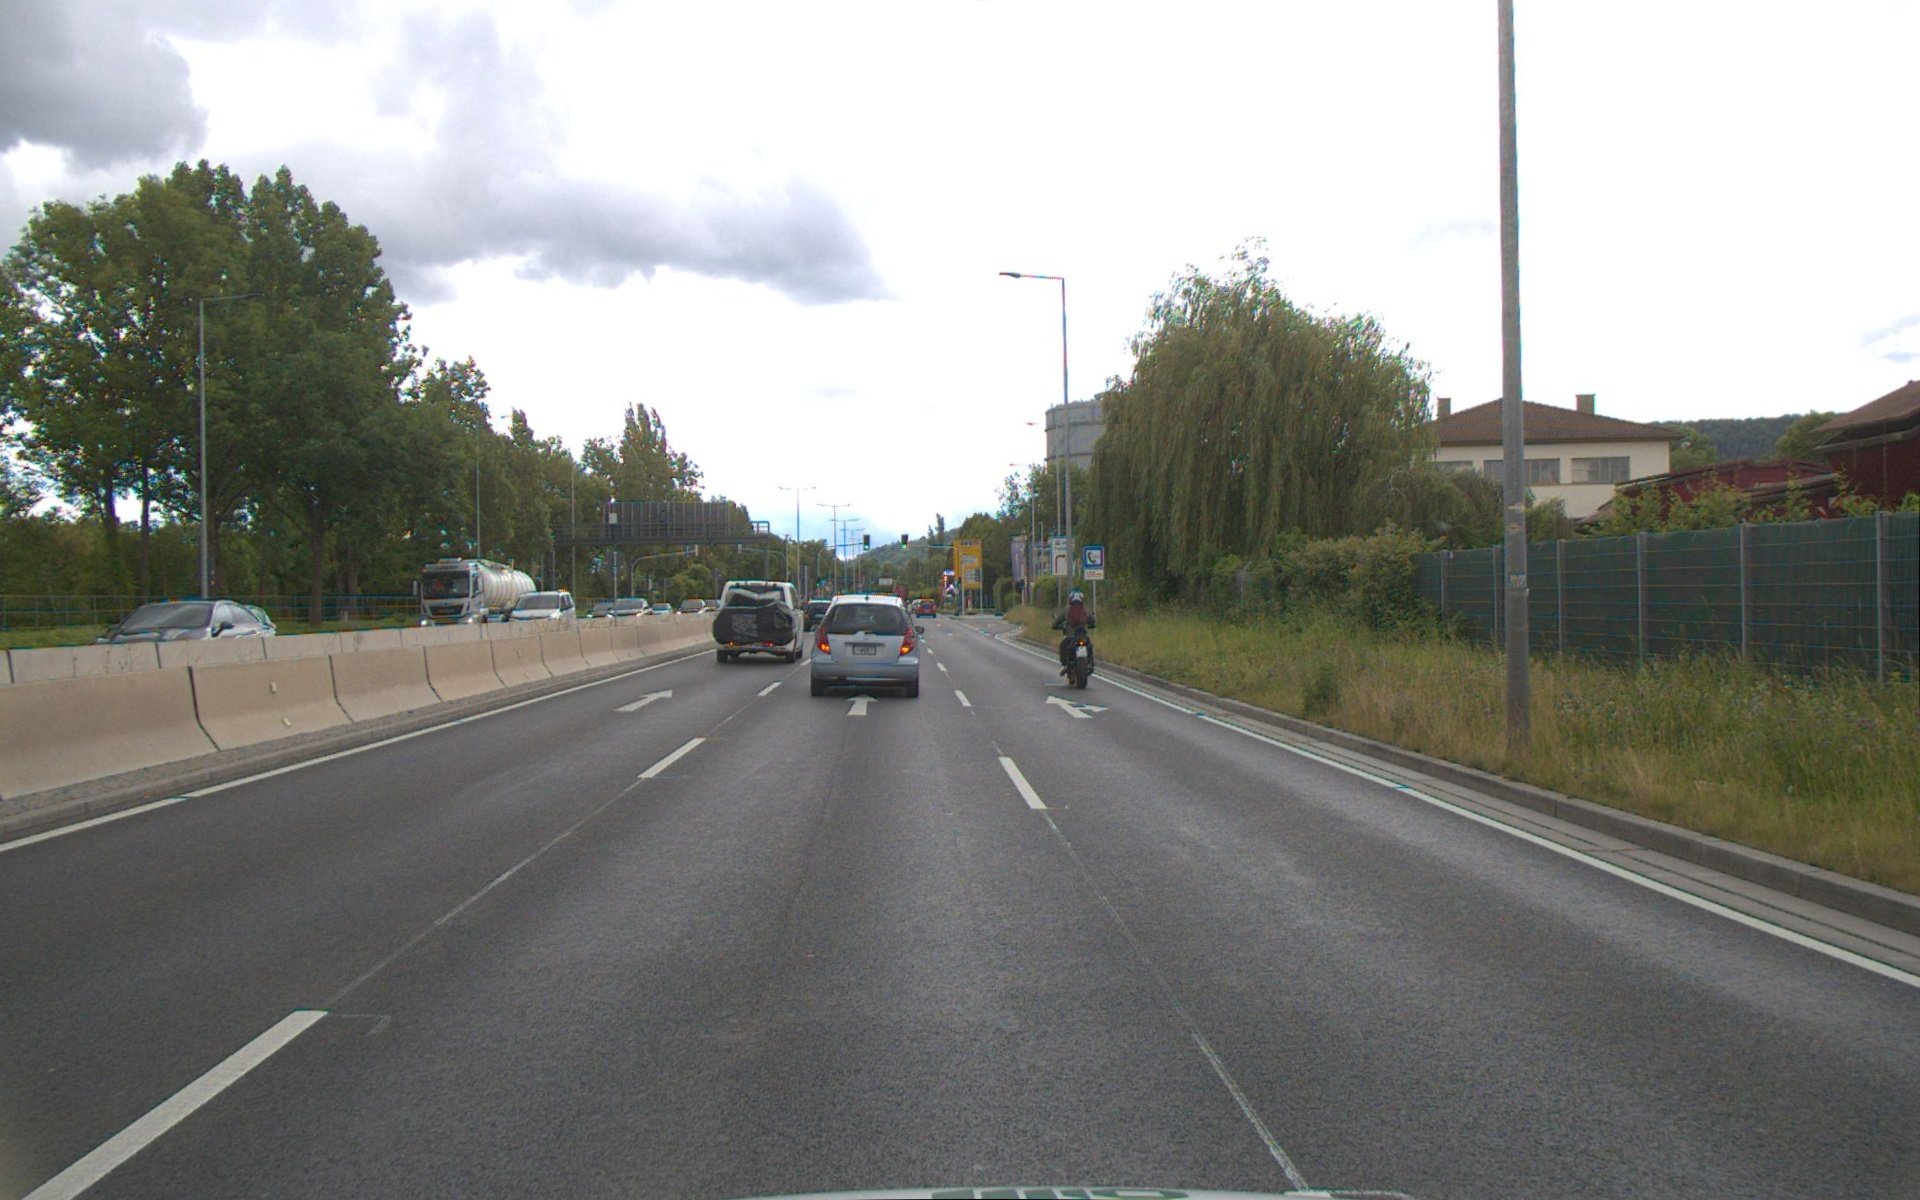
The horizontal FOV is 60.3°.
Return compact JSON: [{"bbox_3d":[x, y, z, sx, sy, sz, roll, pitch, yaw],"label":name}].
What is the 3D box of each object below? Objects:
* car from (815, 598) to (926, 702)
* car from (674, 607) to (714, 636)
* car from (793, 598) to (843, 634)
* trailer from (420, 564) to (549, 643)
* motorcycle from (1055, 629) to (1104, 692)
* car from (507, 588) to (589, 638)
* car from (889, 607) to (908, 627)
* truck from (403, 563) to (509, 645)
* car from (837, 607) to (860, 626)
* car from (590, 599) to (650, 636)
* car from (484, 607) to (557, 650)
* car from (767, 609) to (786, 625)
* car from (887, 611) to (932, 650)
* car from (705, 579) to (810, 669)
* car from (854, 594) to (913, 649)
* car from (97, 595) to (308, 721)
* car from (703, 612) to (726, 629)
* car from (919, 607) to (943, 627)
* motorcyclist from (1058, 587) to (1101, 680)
[{"bbox_3d":[-1.458,0.773,27.390,1.676,1.557,3.998,1,0,-3],"label":"car"},{"bbox_3d":[-17.050,1.358,106.199,1.953,1.769,3.999,1,0,-2],"label":"car"},{"bbox_3d":[-6.545,0.708,76.538,1.953,1.579,4.000,1,0,0],"label":"car"},{"bbox_3d":[-21.659,0.160,76.109,3.038,3.276,11.661,1,0,-3],"label":"trailer"},{"bbox_3d":[2.132,1.068,29.751,0.692,1.058,2.026,1,0,0],"label":"motorcycle"},{"bbox_3d":[-14.666,0.440,59.062,1.954,1.646,4.694,1,0,-3],"label":"car"},{"bbox_3d":[-6.743,1.845,181.122,1.953,2.049,3.998,1,0,-2],"label":"car"},{"bbox_3d":[-21.373,0.165,70.438,3.036,3.275,5.388,1,0,-3],"label":"truck"},{"bbox_3d":[-9.798,1.456,145.598,1.954,1.579,3.997,1,0,-3],"label":"car"},{"bbox_3d":[-15.988,0.790,77.972,1.953,1.646,4.695,1,0,-2],"label":"car"},{"bbox_3d":[-18.064,1.132,68.168,1.954,1.646,4.694,1,0,-3],"label":"car"},{"bbox_3d":[-20.968,1.897,189.073,1.840,1.712,4.124,1,0,-2],"label":"car"},{"bbox_3d":[-2.113,1.264,69.226,1.803,1.489,3.998,1,0,-2],"label":"car"},{"bbox_3d":[-4.749,0.532,39.505,2.171,1.959,4.998,1,0,-4],"label":"car"},{"bbox_3d":[-2.533,0.687,55.323,1.869,1.713,3.998,1,0,-2],"label":"car"},{"bbox_3d":[-12.683,0.917,27.981,1.780,1.937,3.998,1,0,-2],"label":"car"},{"bbox_3d":[-25.830,2.158,174.095,1.840,1.712,3.926,1,0,-2],"label":"car"},{"bbox_3d":[-2.510,1.433,142.204,1.954,1.579,3.997,1,0,-3],"label":"car"},{"bbox_3d":[2.147,0.590,29.729,0.671,1.638,0.845,1,0,-1],"label":"motorcyclist"}]
